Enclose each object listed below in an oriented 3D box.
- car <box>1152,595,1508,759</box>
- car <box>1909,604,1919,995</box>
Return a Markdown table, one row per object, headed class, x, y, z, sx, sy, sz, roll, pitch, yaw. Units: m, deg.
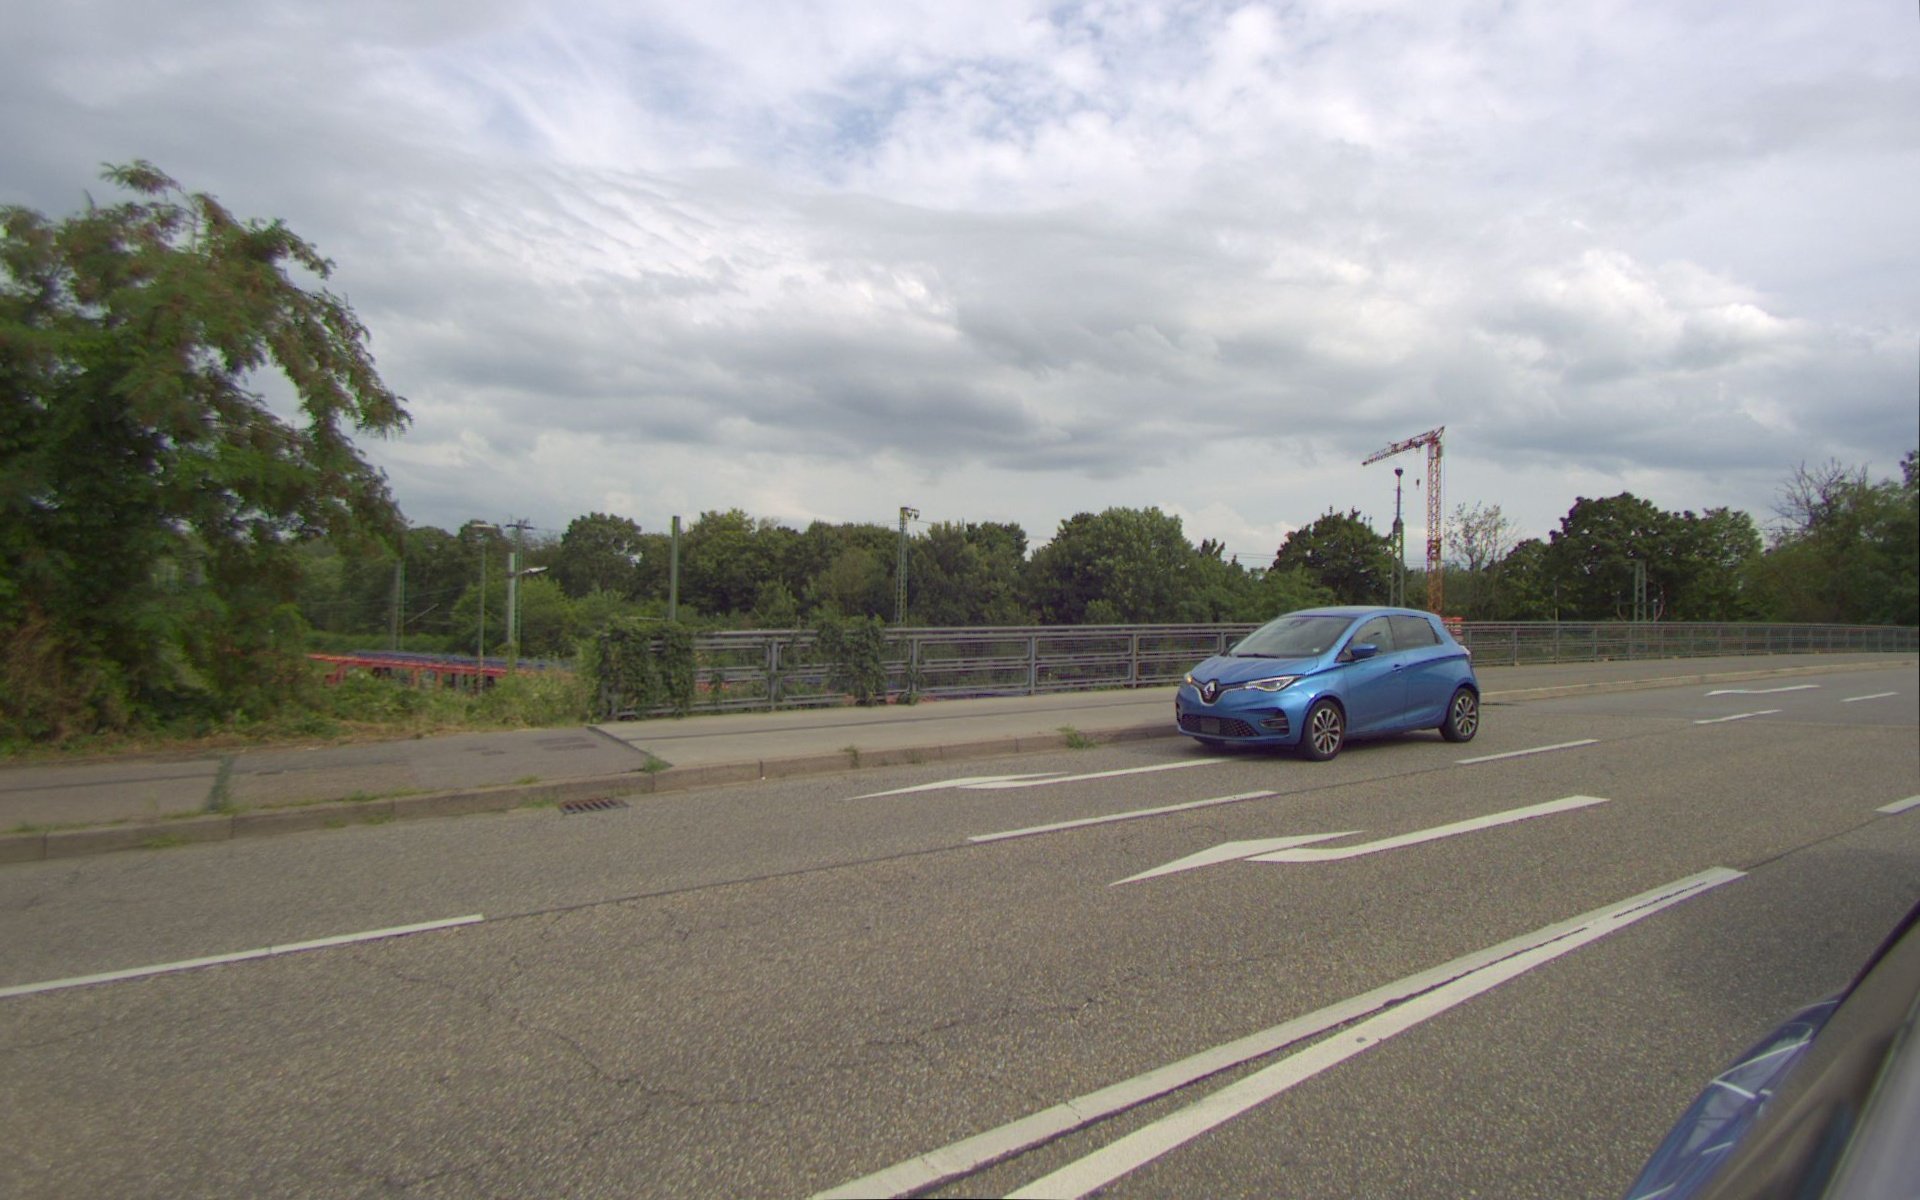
| class | x | y | z | sx | sy | sz | roll | pitch | yaw |
| --- | --- | --- | --- | --- | --- | --- | --- | --- | --- |
| car | 4.203 | 0.749 | 11.366 | 3.872 | 1.541 | 1.727 | 0 | -2 | -33 |
| car | 5.802 | 0.702 | 4.160 | 4.639 | 1.381 | 1.854 | 0 | 0 | -35 |
